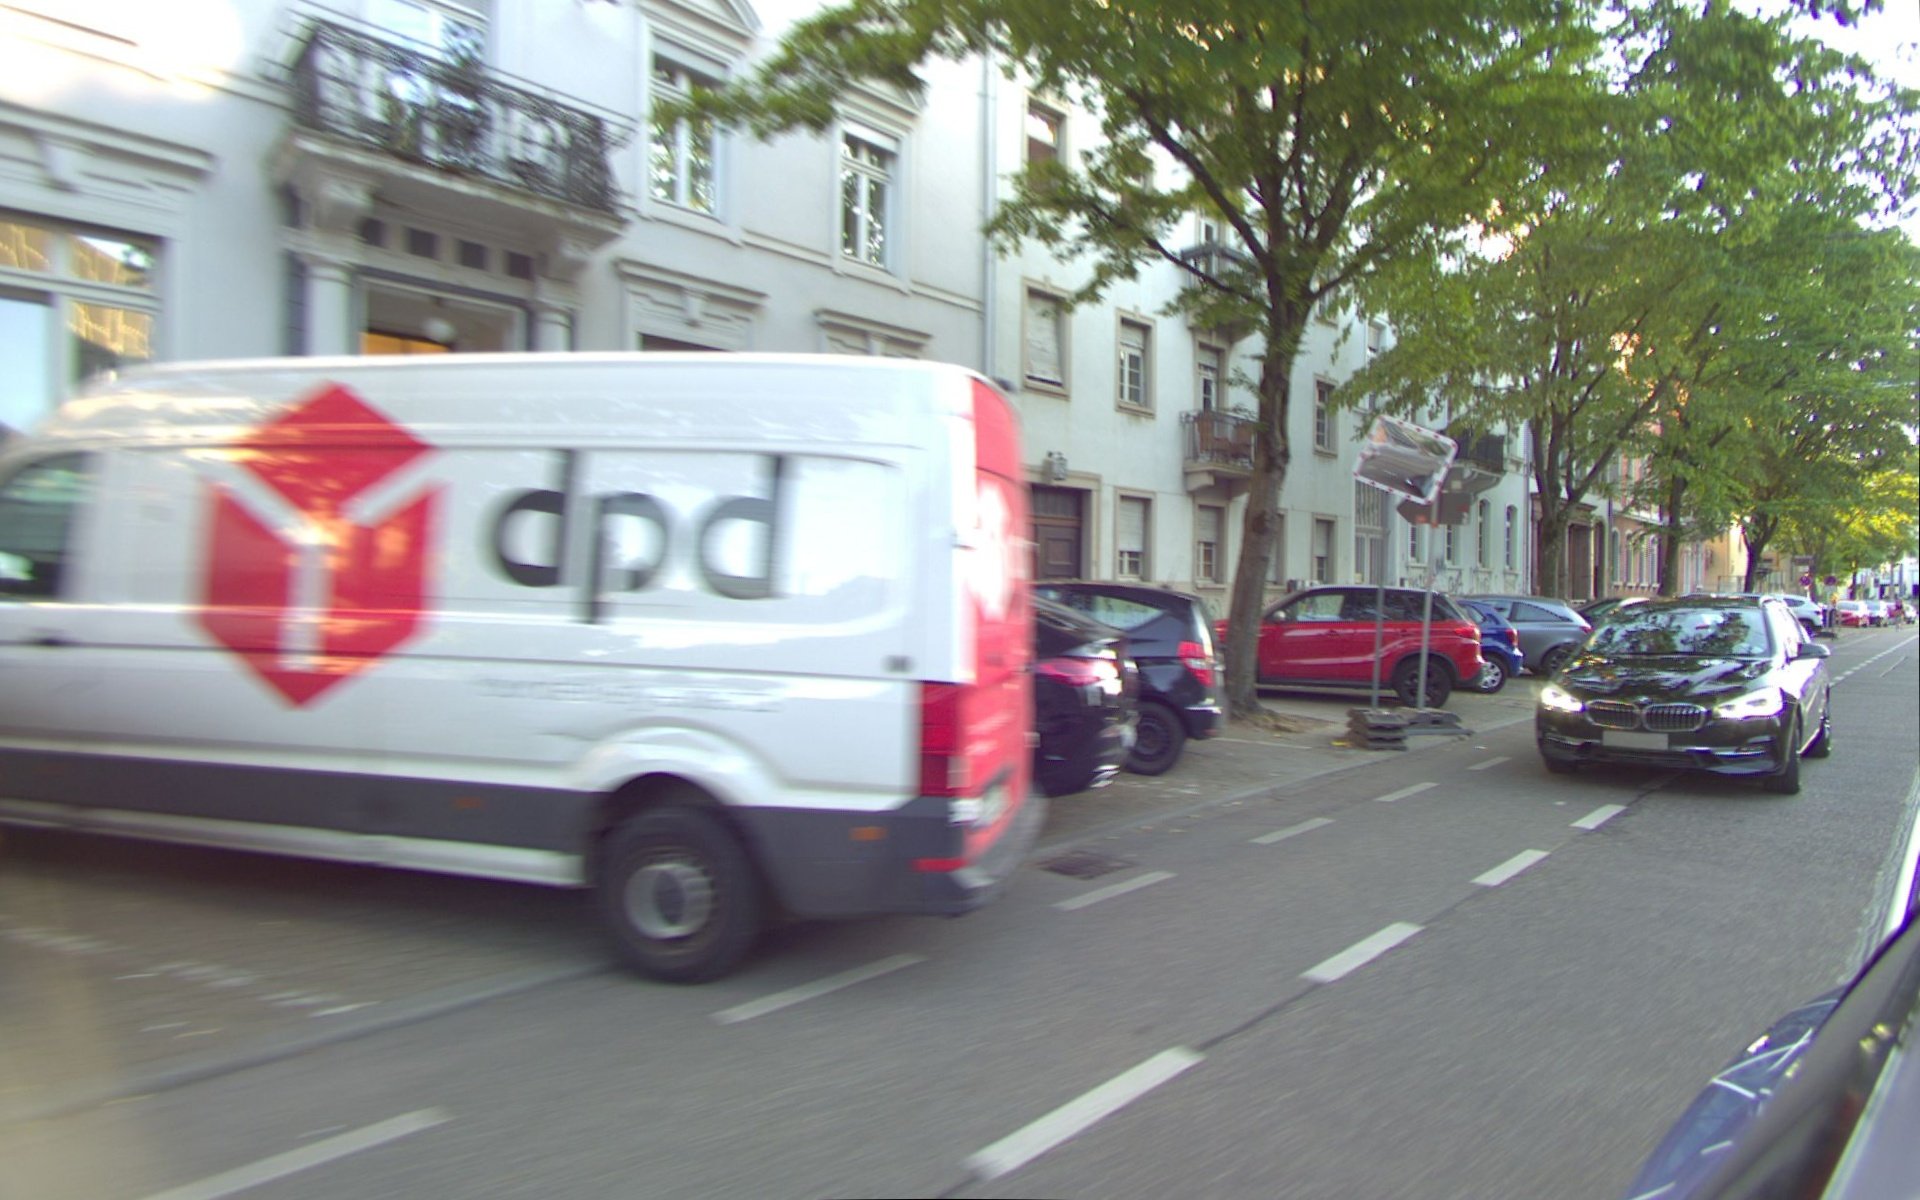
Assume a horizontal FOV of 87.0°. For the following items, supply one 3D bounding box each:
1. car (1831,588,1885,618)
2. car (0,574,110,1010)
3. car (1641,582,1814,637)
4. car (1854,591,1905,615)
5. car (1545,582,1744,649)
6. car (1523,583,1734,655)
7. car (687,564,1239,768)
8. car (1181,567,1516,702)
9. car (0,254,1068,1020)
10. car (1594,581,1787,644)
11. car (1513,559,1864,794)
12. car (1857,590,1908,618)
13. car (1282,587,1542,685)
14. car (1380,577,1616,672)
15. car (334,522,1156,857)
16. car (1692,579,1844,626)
[{"bbox_3d":[50.592,0.148,56.994,3.753,1.630,1.742,0,0,-39],"label":"car"},{"bbox_3d":[-5.503,0.591,3.500,4.350,1.462,1.976,3,2,19],"label":"car"},{"bbox_3d":[25.451,0.280,33.719,4.155,1.629,1.734,2,1,18],"label":"car"},{"bbox_3d":[62.523,0.188,68.798,4.195,1.630,1.953,0,0,-39],"label":"car"},{"bbox_3d":[17.876,0.363,26.688,4.177,1.521,1.725,3,1,30],"label":"car"},{"bbox_3d":[16.306,0.411,24.958,4.177,1.521,1.725,3,1,30],"label":"car"},{"bbox_3d":[0.077,0.492,9.697,4.953,1.623,1.887,1,1,15],"label":"car"},{"bbox_3d":[5.245,0.398,14.034,4.068,1.661,1.732,1,1,20],"label":"car"},{"bbox_3d":[-2.322,0.085,5.263,5.553,2.728,2.164,1,0,12],"label":"car"},{"bbox_3d":[21.156,0.328,29.495,4.155,1.629,1.693,2,1,18],"label":"car"},{"bbox_3d":[6.796,0.577,9.266,4.099,1.662,1.836,0,-3,-44],"label":"car"},{"bbox_3d":[55.102,0.240,60.409,3.753,1.630,1.742,0,0,-39],"label":"car"},{"bbox_3d":[7.099,0.517,16.201,3.519,1.427,1.516,1,1,12],"label":"car"},{"bbox_3d":[9.557,0.390,18.244,3.527,1.565,1.376,1,0,18],"label":"car"},{"bbox_3d":[-1.397,0.466,7.452,5.553,1.919,2.164,1,1,12],"label":"car"},{"bbox_3d":[31.198,0.063,39.213,4.155,1.629,1.734,2,1,18],"label":"car"}]
